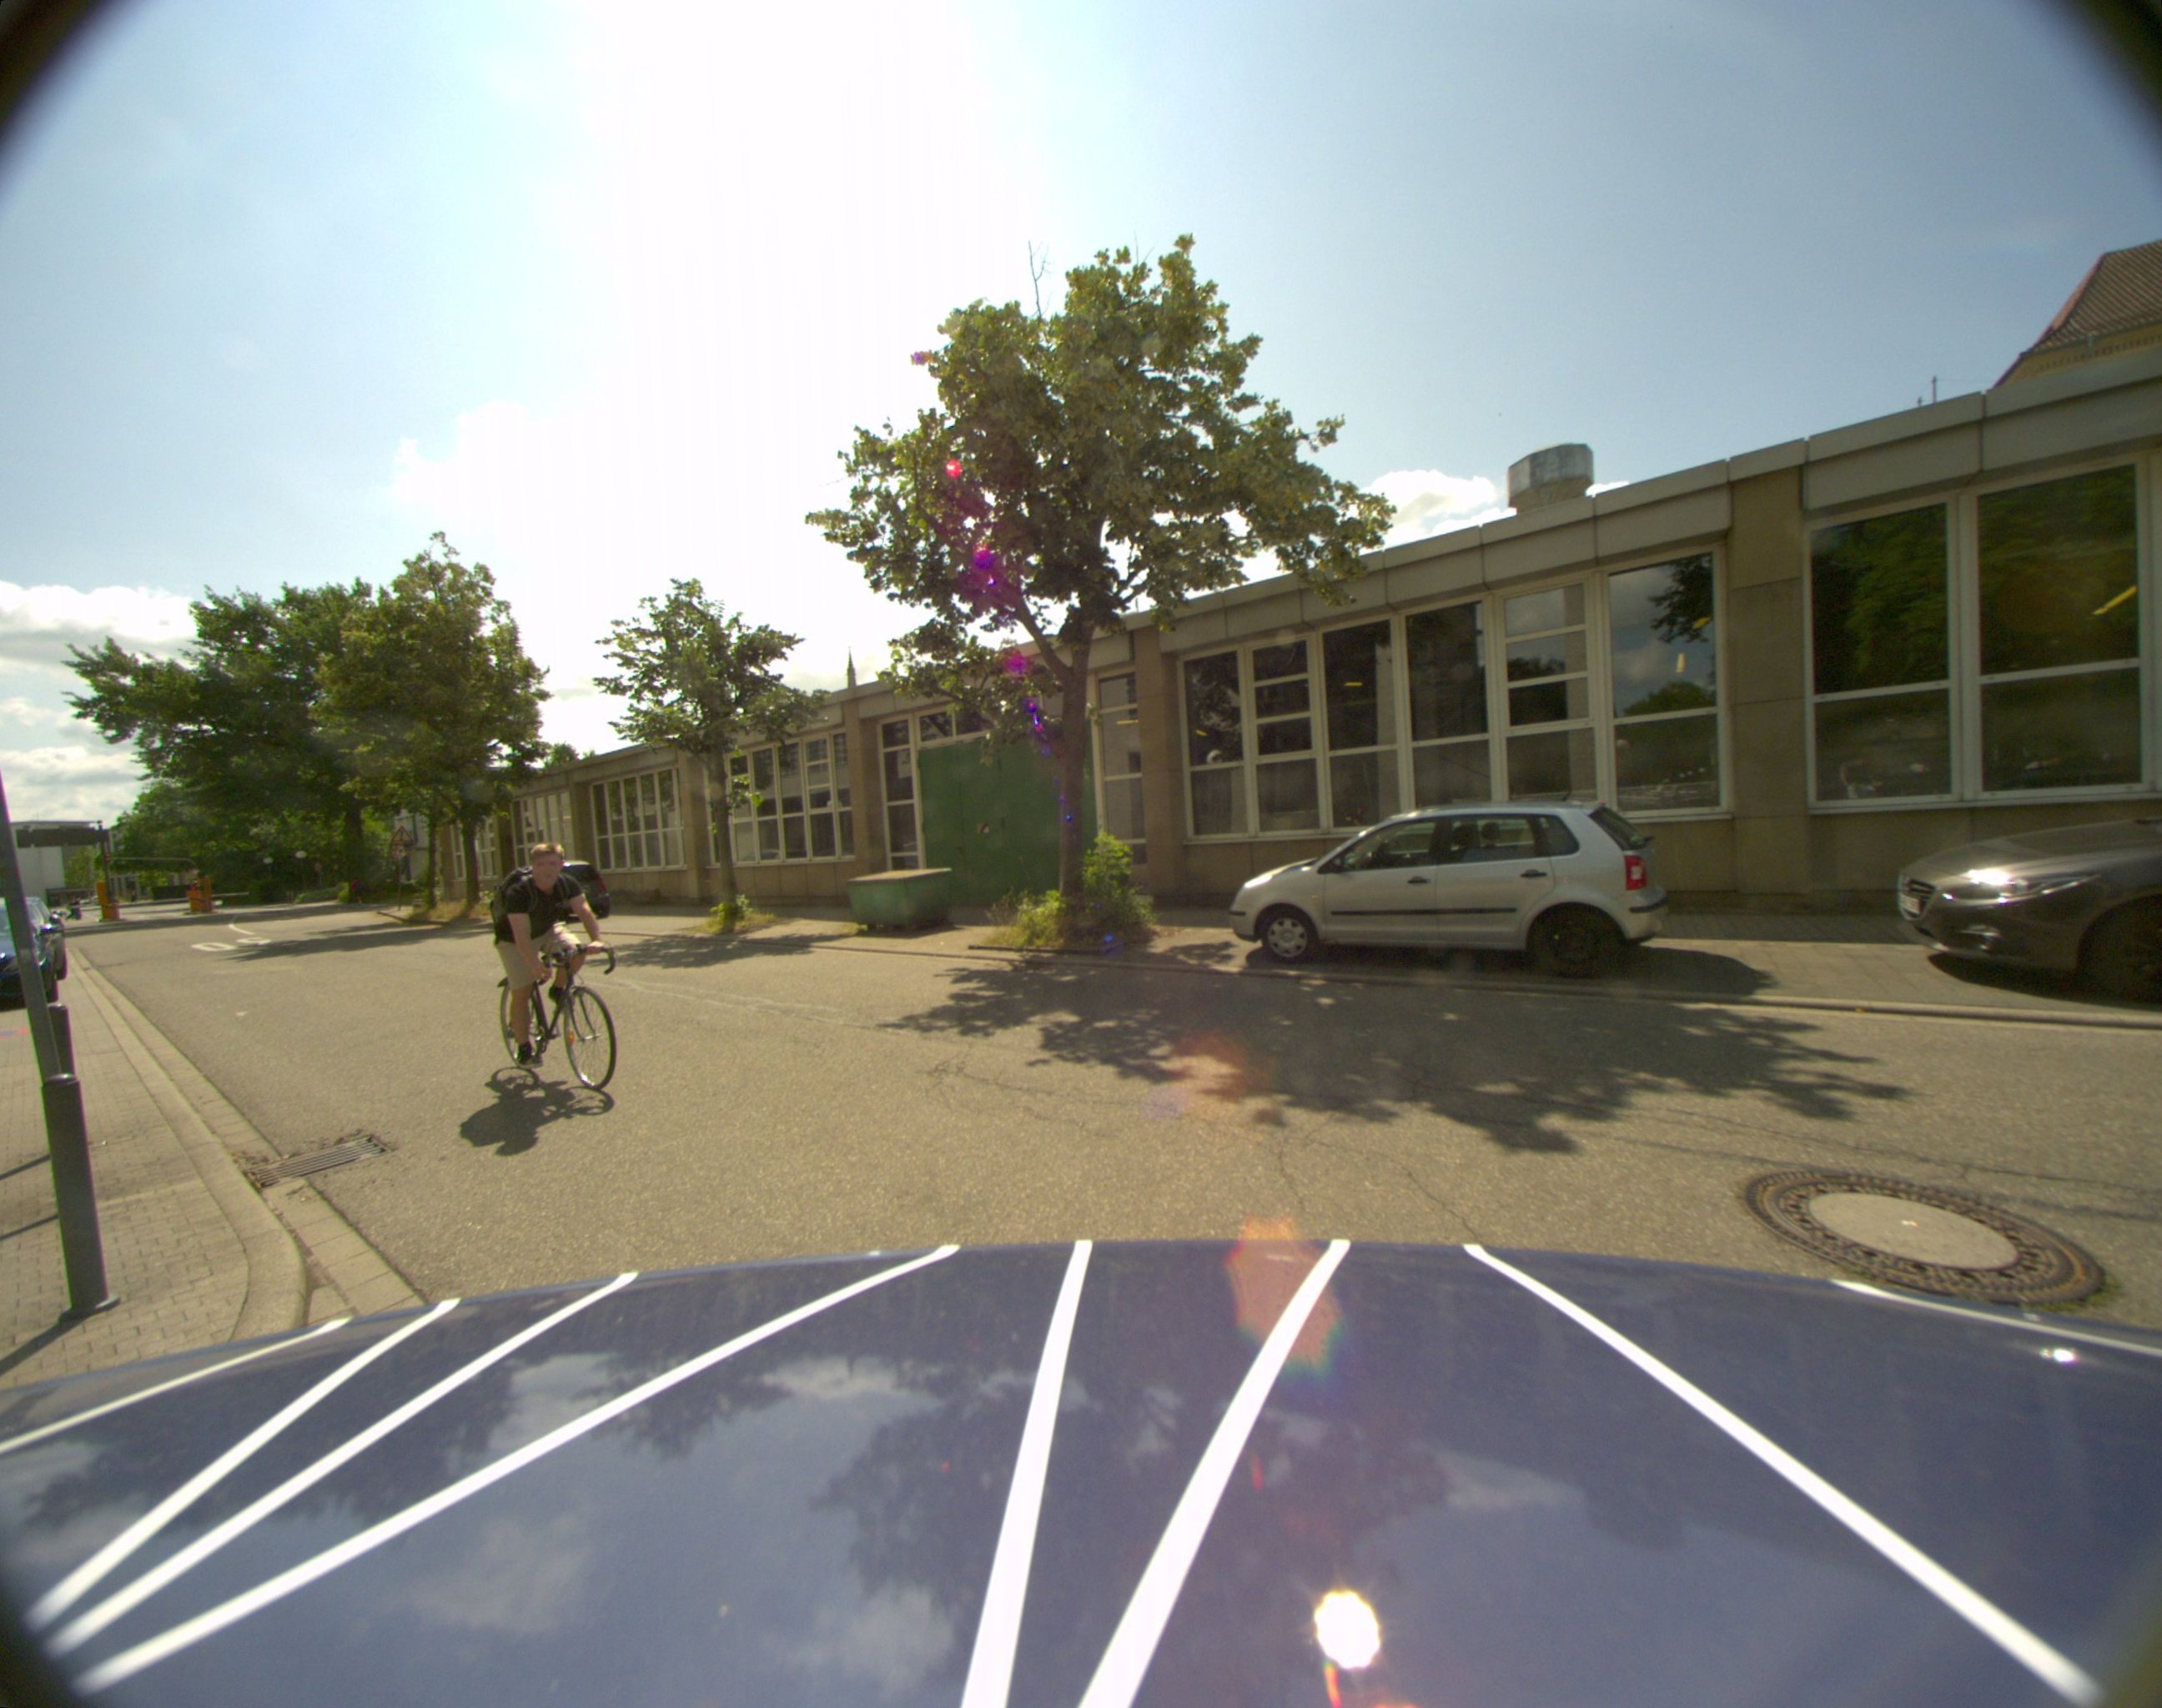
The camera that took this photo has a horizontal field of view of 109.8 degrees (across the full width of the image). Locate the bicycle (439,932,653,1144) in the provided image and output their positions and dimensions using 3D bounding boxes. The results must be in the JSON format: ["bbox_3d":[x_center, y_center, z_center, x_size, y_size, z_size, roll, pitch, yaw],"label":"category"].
[{"bbox_3d":[-3.748,1.167,5.268,1.825,1.102,0.606,-2,5,38],"label":"bicycle"}]

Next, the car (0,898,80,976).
[{"bbox_3d":[-24.999,1.914,17.665,4.123,1.573,1.855,-2,3,35],"label":"car"}]

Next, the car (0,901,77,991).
[{"bbox_3d":[-20.389,1.714,14.122,4.123,1.468,1.855,-2,3,35],"label":"car"}]

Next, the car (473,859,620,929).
[{"bbox_3d":[-14.558,1.070,20.637,4.123,1.569,1.854,-2,4,35],"label":"car"}]

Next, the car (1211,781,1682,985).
[{"bbox_3d":[3.399,0.223,7.405,3.769,1.468,1.655,-2,5,36],"label":"car"}]

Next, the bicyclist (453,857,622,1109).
[{"bbox_3d":[-3.692,0.819,5.172,0.726,1.526,0.606,-2,5,38],"label":"bicyclist"}]

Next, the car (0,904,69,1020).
[{"bbox_3d":[-16.122,1.552,10.806,4.123,1.468,1.855,-2,3,35],"label":"car"}]

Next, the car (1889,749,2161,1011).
[{"bbox_3d":[7.773,0.040,4.247,4.200,1.468,1.655,-3,4,36],"label":"car"}]
